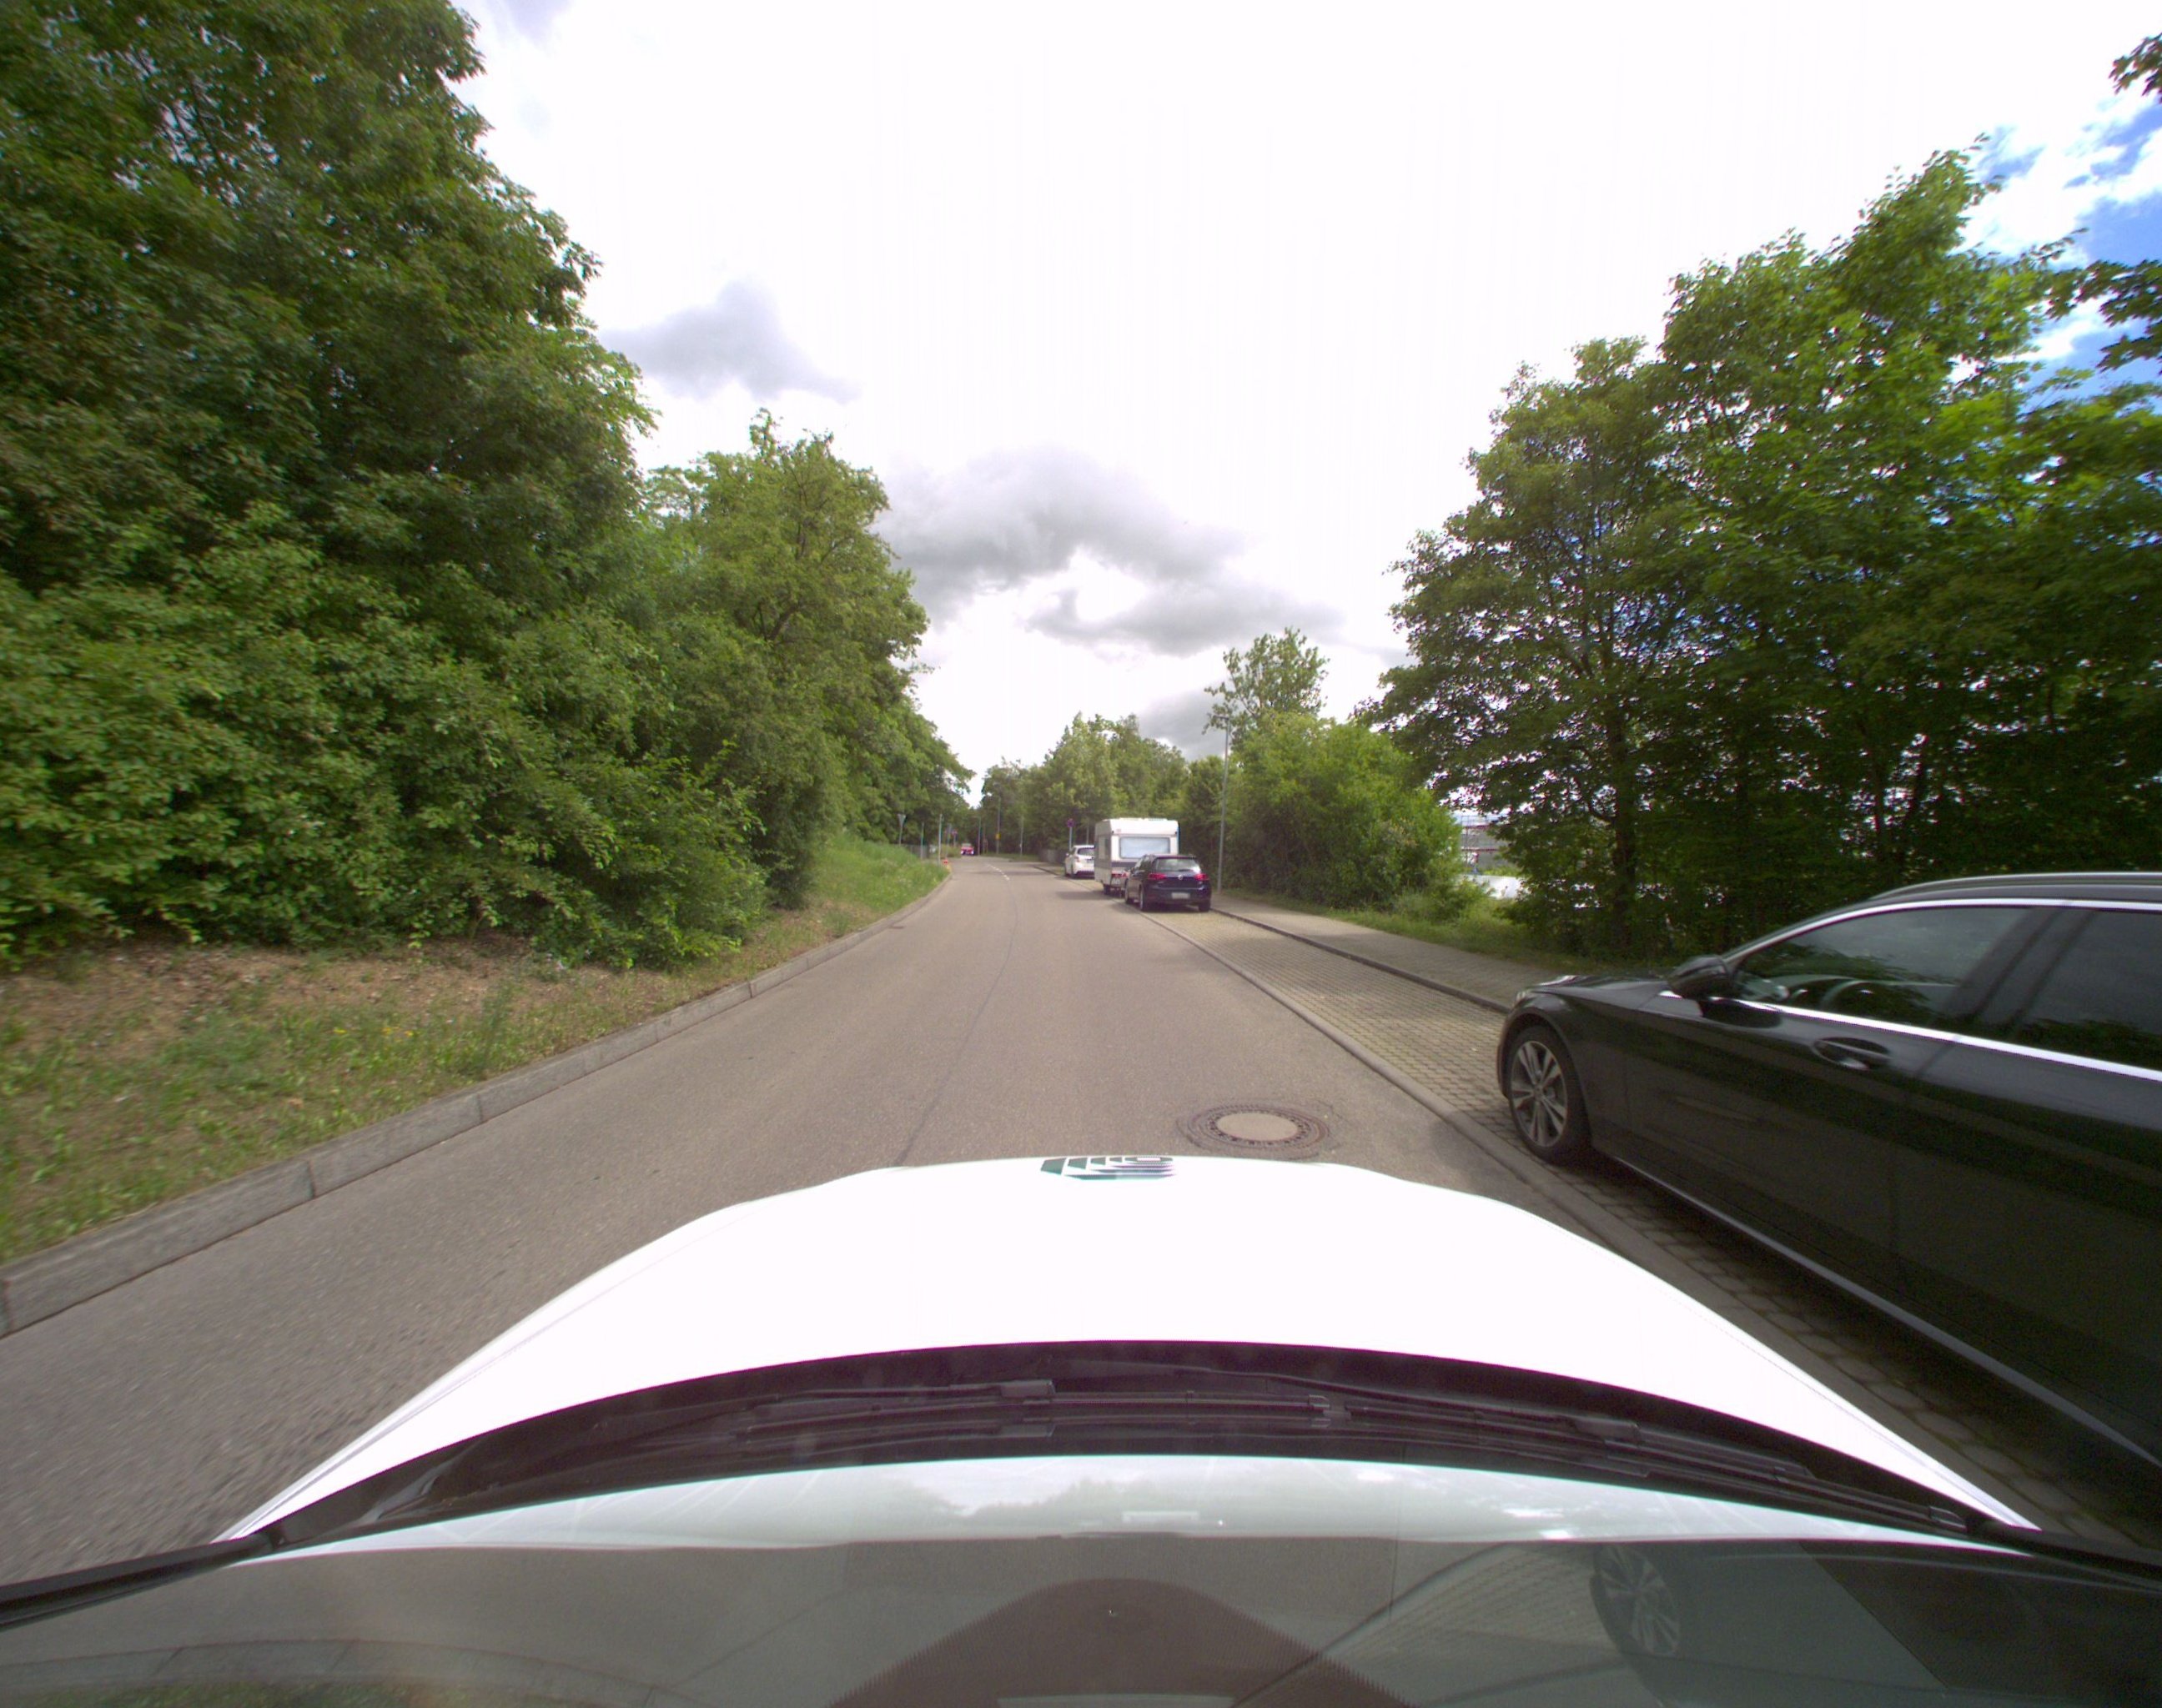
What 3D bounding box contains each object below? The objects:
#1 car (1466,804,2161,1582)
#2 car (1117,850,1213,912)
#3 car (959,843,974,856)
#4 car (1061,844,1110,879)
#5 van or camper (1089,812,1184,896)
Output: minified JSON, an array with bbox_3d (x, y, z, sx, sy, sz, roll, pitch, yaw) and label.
[{"bbox_3d":[3.109,0.681,2.399,1.886,1.530,4.548,1,1,2],"label":"car"},{"bbox_3d":[2.136,0.653,21.954,1.680,1.451,4.470,1,0,-6],"label":"car"},{"bbox_3d":[-15.261,-0.601,108.368,1.844,1.658,4.206,1,1,-11],"label":"car"},{"bbox_3d":[0.170,0.326,40.360,1.804,1.599,4.360,0,1,-8],"label":"car"},{"bbox_3d":[1.731,-0.006,27.551,2.352,2.553,5.063,0,0,-6],"label":"van or camper"}]
